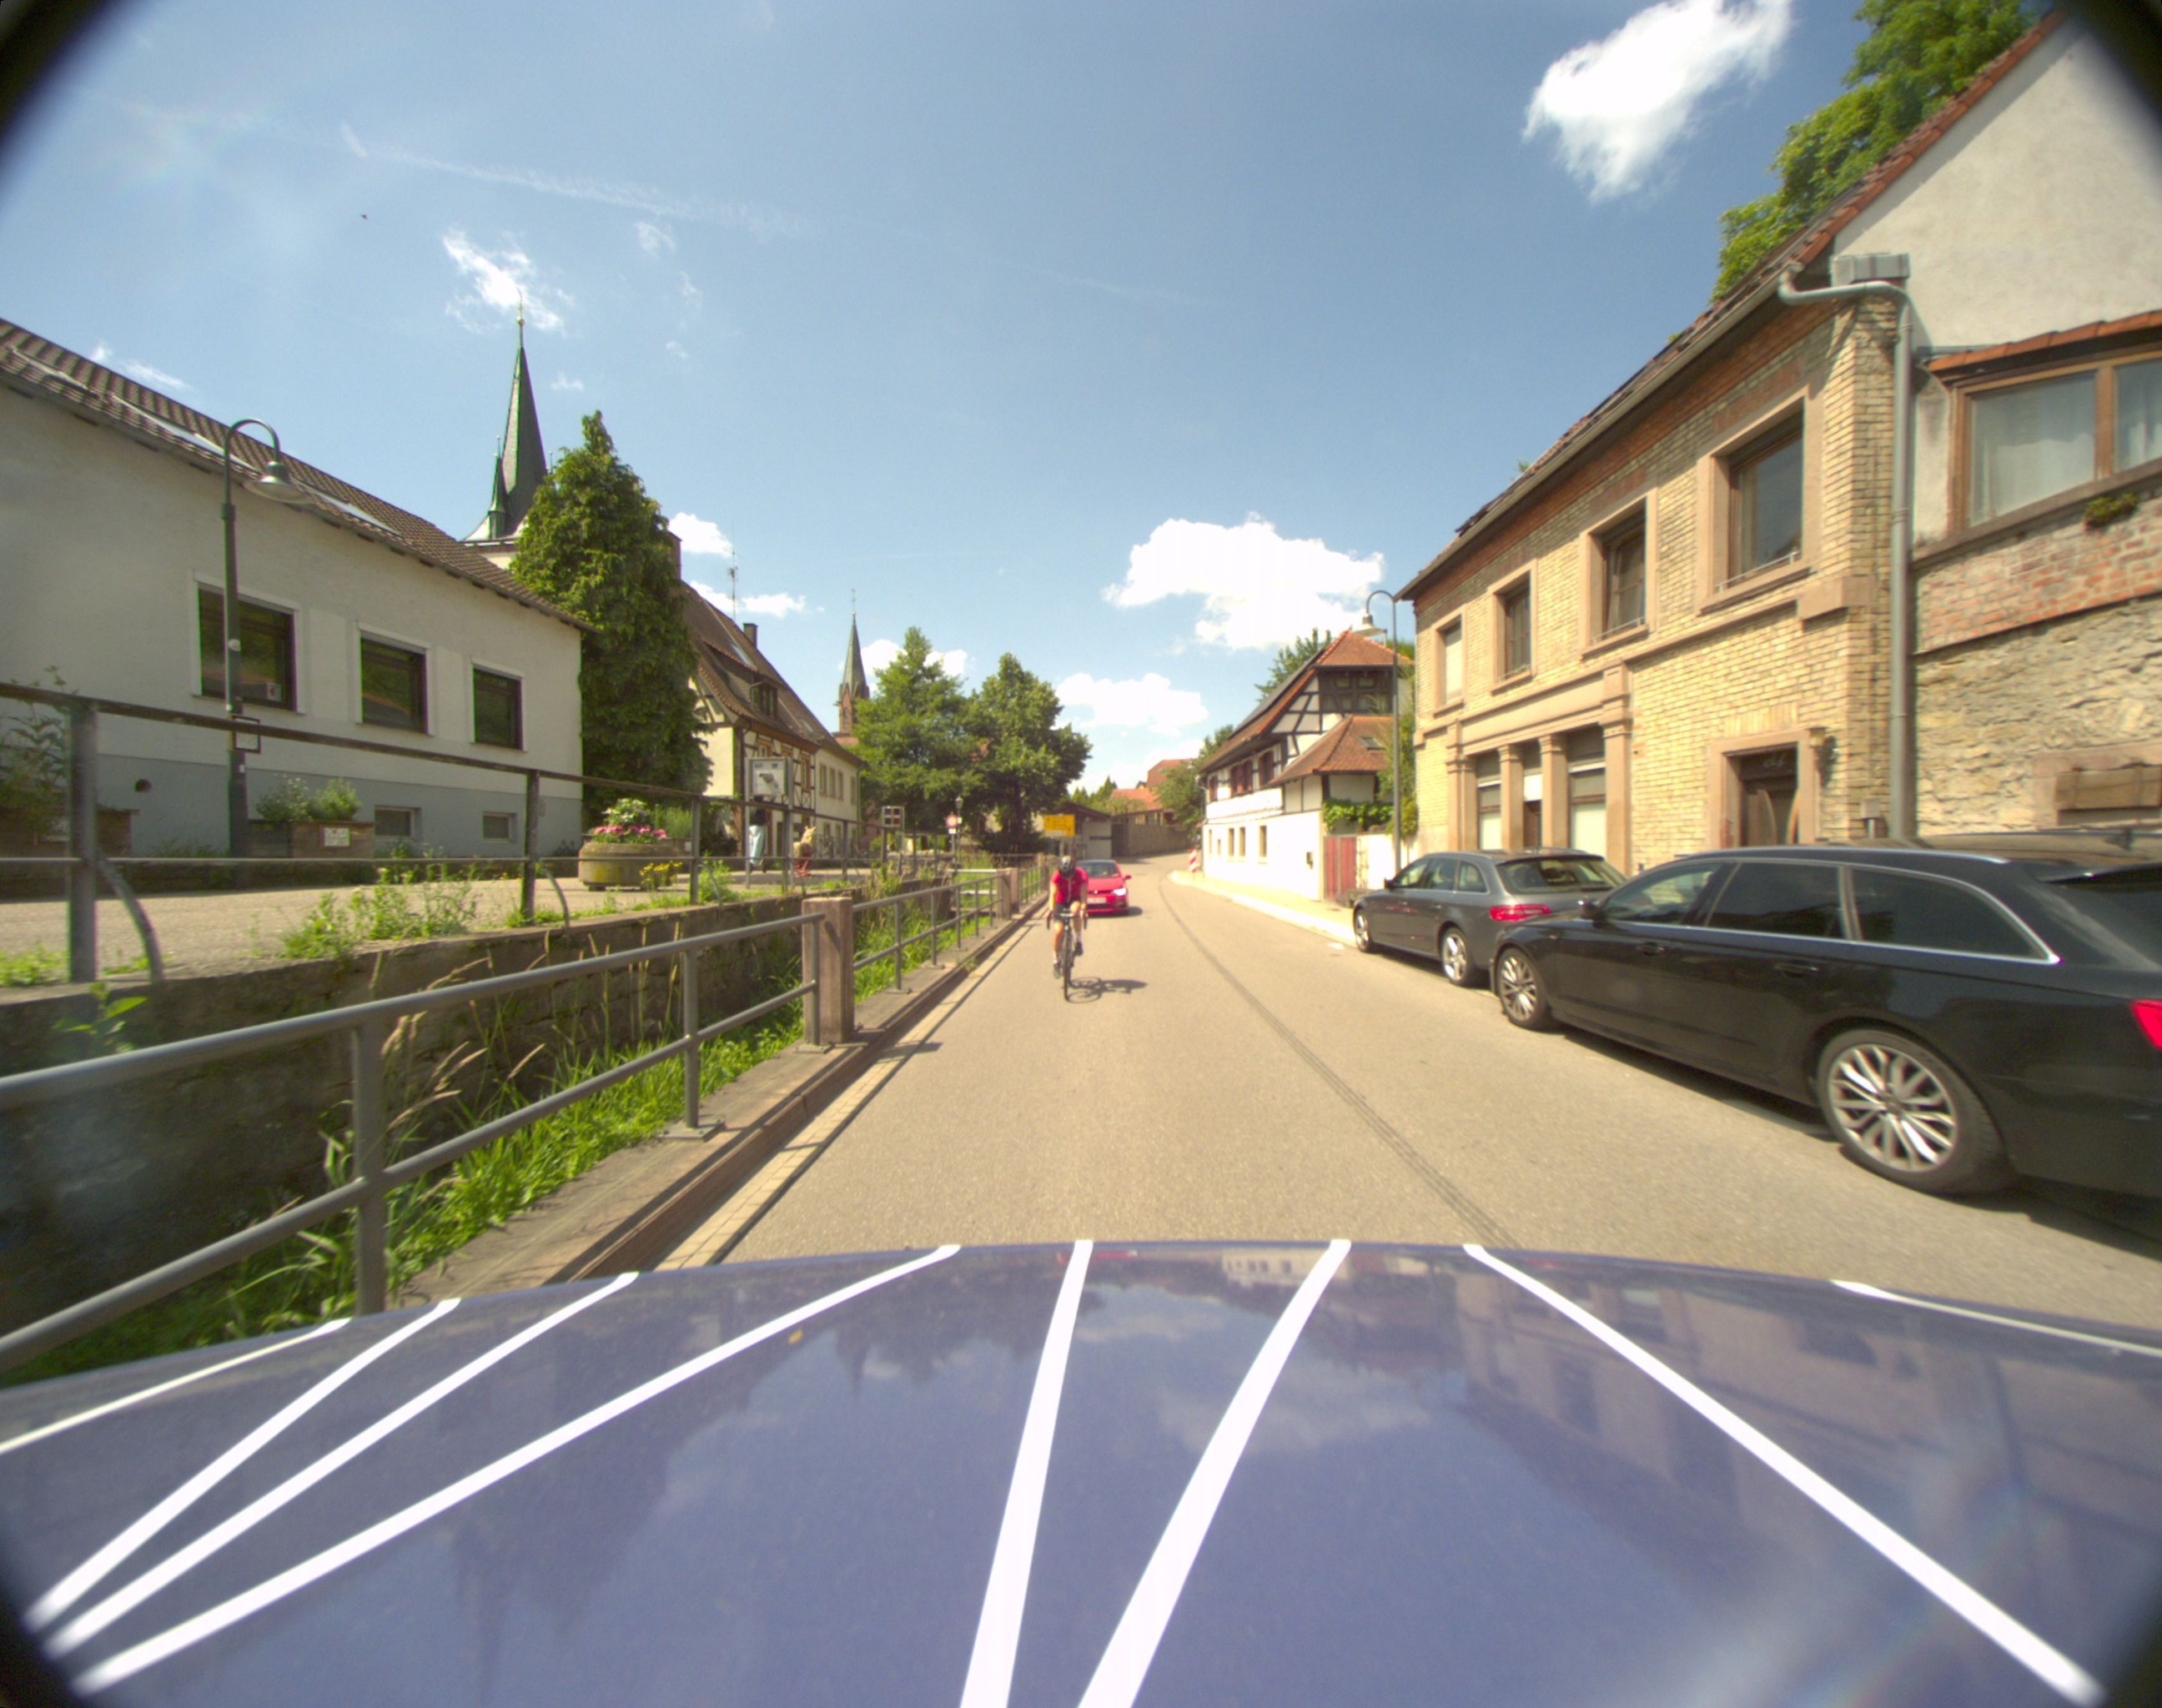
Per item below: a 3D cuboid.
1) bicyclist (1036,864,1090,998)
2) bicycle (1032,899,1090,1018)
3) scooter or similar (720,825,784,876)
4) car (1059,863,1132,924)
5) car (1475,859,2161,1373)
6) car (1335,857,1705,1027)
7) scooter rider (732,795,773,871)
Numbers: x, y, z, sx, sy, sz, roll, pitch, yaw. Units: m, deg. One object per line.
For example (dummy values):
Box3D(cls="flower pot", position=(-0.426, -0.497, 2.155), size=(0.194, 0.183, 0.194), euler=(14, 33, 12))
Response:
Box3D(cls="bicyclist", position=(-0.183, 0.814, 8.368), size=(0.532, 1.396, 0.755), euler=(-1, 0, 1))
Box3D(cls="bicycle", position=(-0.188, 1.106, 8.599), size=(0.531, 1.070, 2.054), euler=(-1, 0, 2))
Box3D(cls="scooter or similar", position=(-7.633, -0.088, 17.722), size=(0.643, 1.135, 1.811), euler=(1, 1, 2))
Box3D(cls="car", position=(0.294, 0.956, 19.759), size=(1.670, 1.344, 3.493), euler=(-2, 0, -2))
Box3D(cls="car", position=(4.309, 0.816, 4.270), size=(1.889, 1.455, 4.669), euler=(-4, 0, 3))
Box3D(cls="car", position=(4.862, 0.837, 9.364), size=(1.961, 1.457, 4.545), euler=(-1, 1, 1))
Box3D(cls="scooter rider", position=(-7.626, -0.490, 17.647), size=(0.643, 1.722, 0.554), euler=(-1, 1, 2))
